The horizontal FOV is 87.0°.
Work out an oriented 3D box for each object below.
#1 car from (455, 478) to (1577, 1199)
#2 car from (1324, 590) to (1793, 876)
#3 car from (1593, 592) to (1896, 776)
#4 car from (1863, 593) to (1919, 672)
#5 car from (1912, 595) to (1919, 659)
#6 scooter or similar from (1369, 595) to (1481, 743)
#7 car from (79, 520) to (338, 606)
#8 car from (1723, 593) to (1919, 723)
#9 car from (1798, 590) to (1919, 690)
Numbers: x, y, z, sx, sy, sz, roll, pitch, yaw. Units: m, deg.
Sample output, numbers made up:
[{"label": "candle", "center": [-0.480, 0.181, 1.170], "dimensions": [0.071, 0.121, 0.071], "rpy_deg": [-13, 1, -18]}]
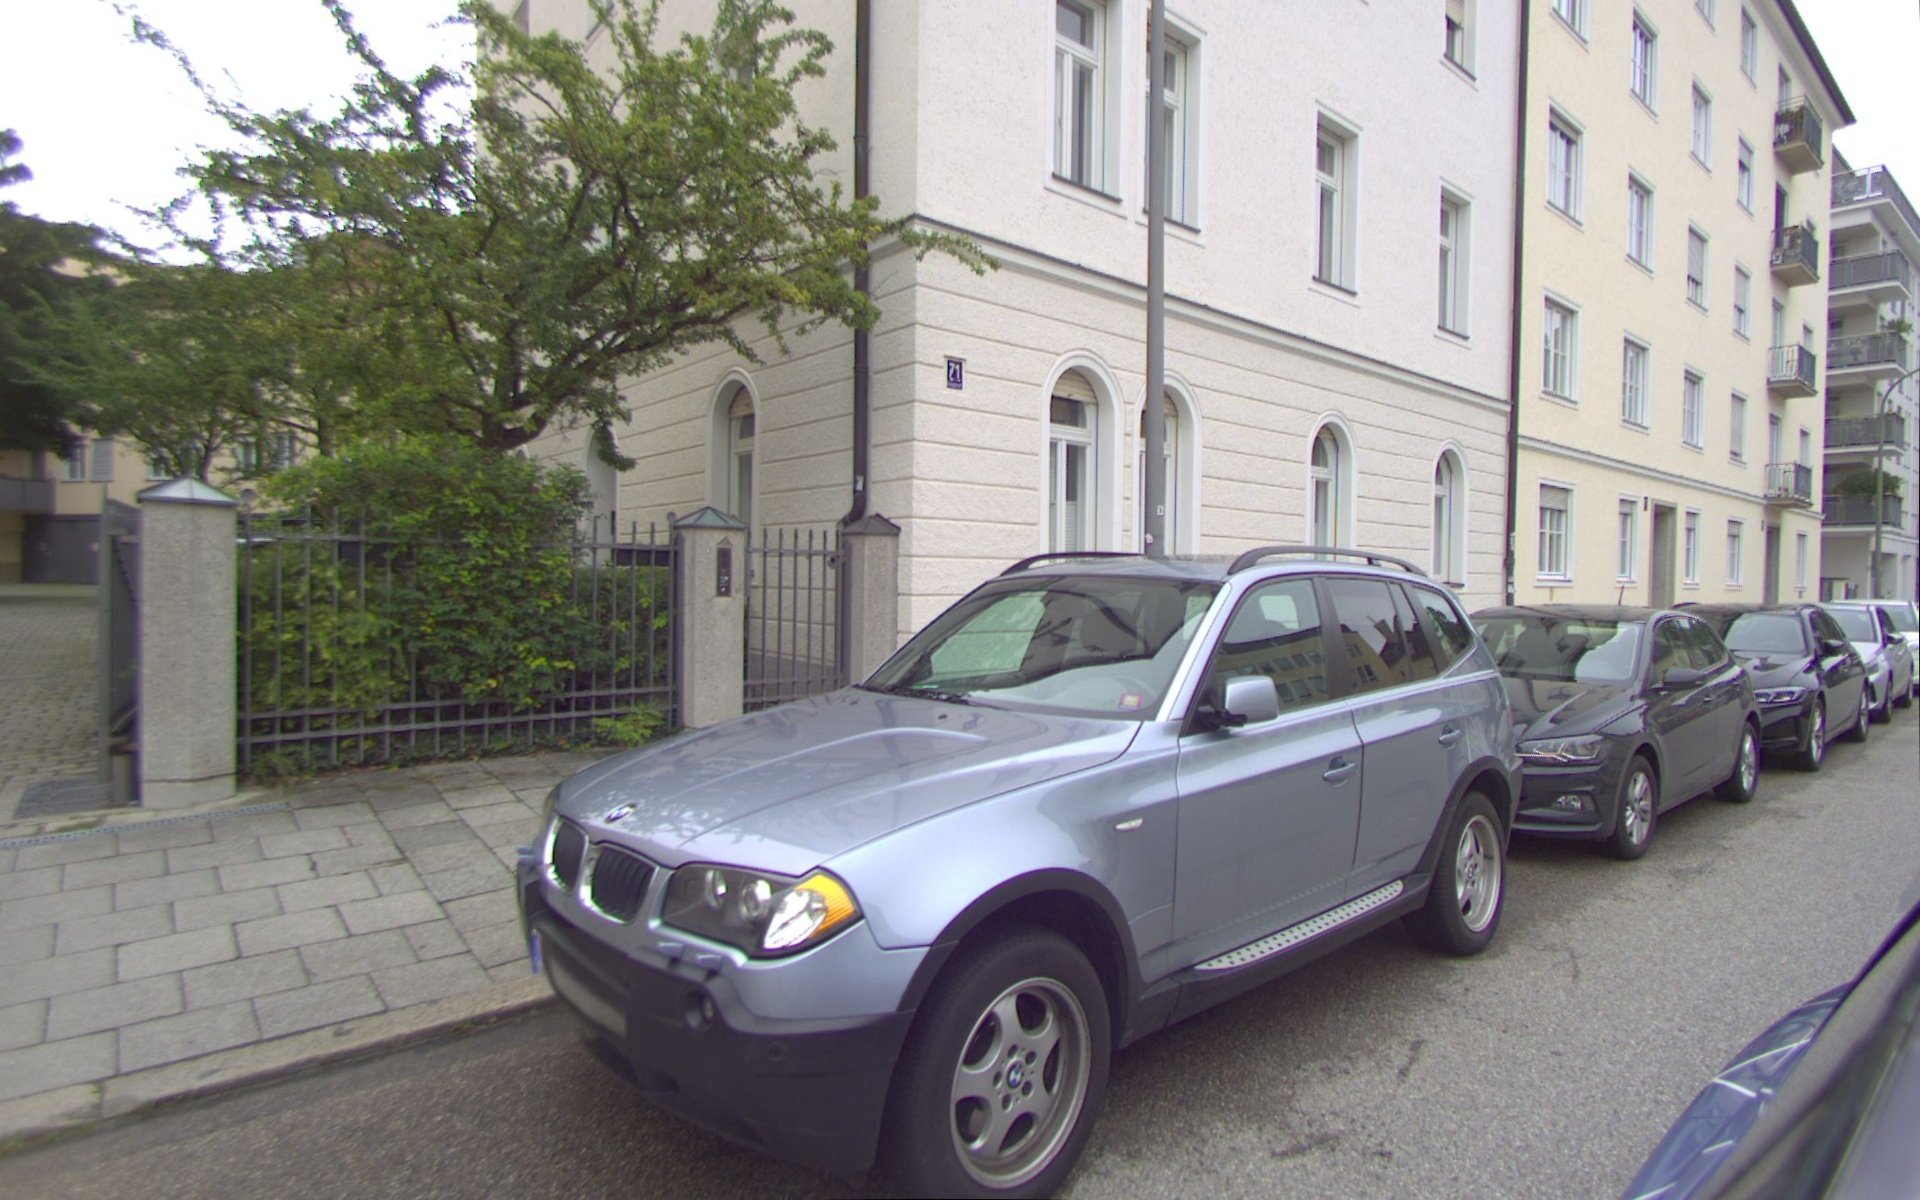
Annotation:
[{"label": "car", "center": [0.645, 0.570, 3.915], "dimensions": [4.380, 1.654, 1.725], "rpy_deg": [0, 2, -41]}, {"label": "car", "center": [4.405, 0.668, 7.187], "dimensions": [4.016, 1.445, 1.682], "rpy_deg": [0, 2, -41]}, {"label": "car", "center": [8.077, 0.660, 10.262], "dimensions": [4.316, 1.445, 1.682], "rpy_deg": [-1, 2, -42]}, {"label": "car", "center": [19.457, 0.597, 20.147], "dimensions": [4.366, 1.427, 1.682], "rpy_deg": [-1, 2, -41]}, {"label": "car", "center": [23.491, 0.603, 23.447], "dimensions": [4.345, 1.427, 1.682], "rpy_deg": [-1, 2, -41]}, {"label": "scooter or similar", "center": [4.066, 0.560, 8.821], "dimensions": [1.153, 1.178, 0.485], "rpy_deg": [-1, 1, -43]}, {"label": "car", "center": [-15.527, -0.782, 21.233], "dimensions": [1.904, 1.567, 4.230], "rpy_deg": [2, 2, 11]}, {"label": "car", "center": [11.825, 0.654, 13.666], "dimensions": [4.095, 1.445, 1.682], "rpy_deg": [-1, 2, -42]}, {"label": "car", "center": [15.781, 0.590, 17.272], "dimensions": [4.095, 1.500, 1.682], "rpy_deg": [-1, 2, -42]}]
